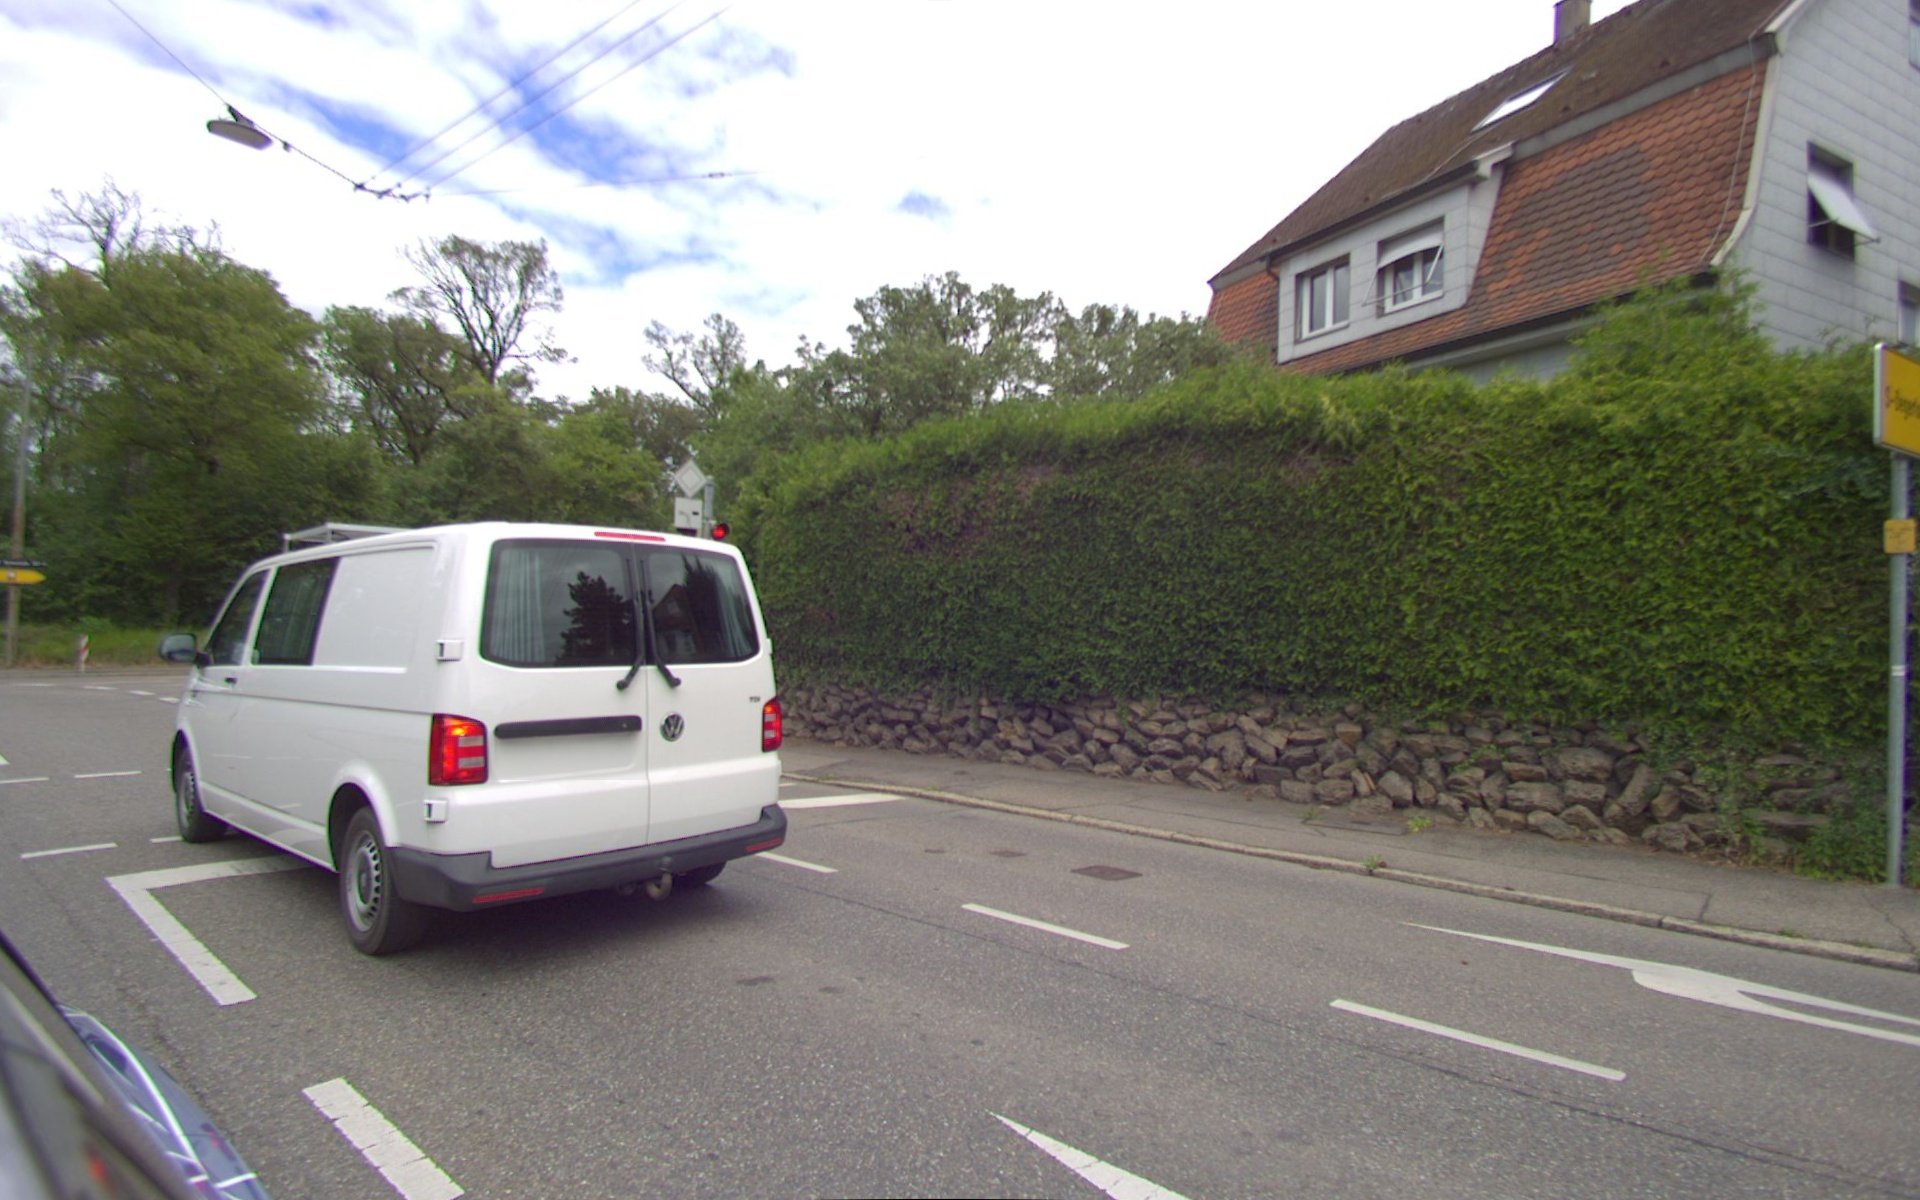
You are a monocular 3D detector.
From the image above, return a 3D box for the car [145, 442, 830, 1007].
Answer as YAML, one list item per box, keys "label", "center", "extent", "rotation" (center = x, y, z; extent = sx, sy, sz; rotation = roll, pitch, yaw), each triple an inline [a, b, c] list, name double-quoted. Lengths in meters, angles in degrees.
- label: "car"
  center: [-3.195, 0.541, 6.131]
  extent: [5.170, 2.063, 1.838]
  rotation: [-2, -3, 42]
